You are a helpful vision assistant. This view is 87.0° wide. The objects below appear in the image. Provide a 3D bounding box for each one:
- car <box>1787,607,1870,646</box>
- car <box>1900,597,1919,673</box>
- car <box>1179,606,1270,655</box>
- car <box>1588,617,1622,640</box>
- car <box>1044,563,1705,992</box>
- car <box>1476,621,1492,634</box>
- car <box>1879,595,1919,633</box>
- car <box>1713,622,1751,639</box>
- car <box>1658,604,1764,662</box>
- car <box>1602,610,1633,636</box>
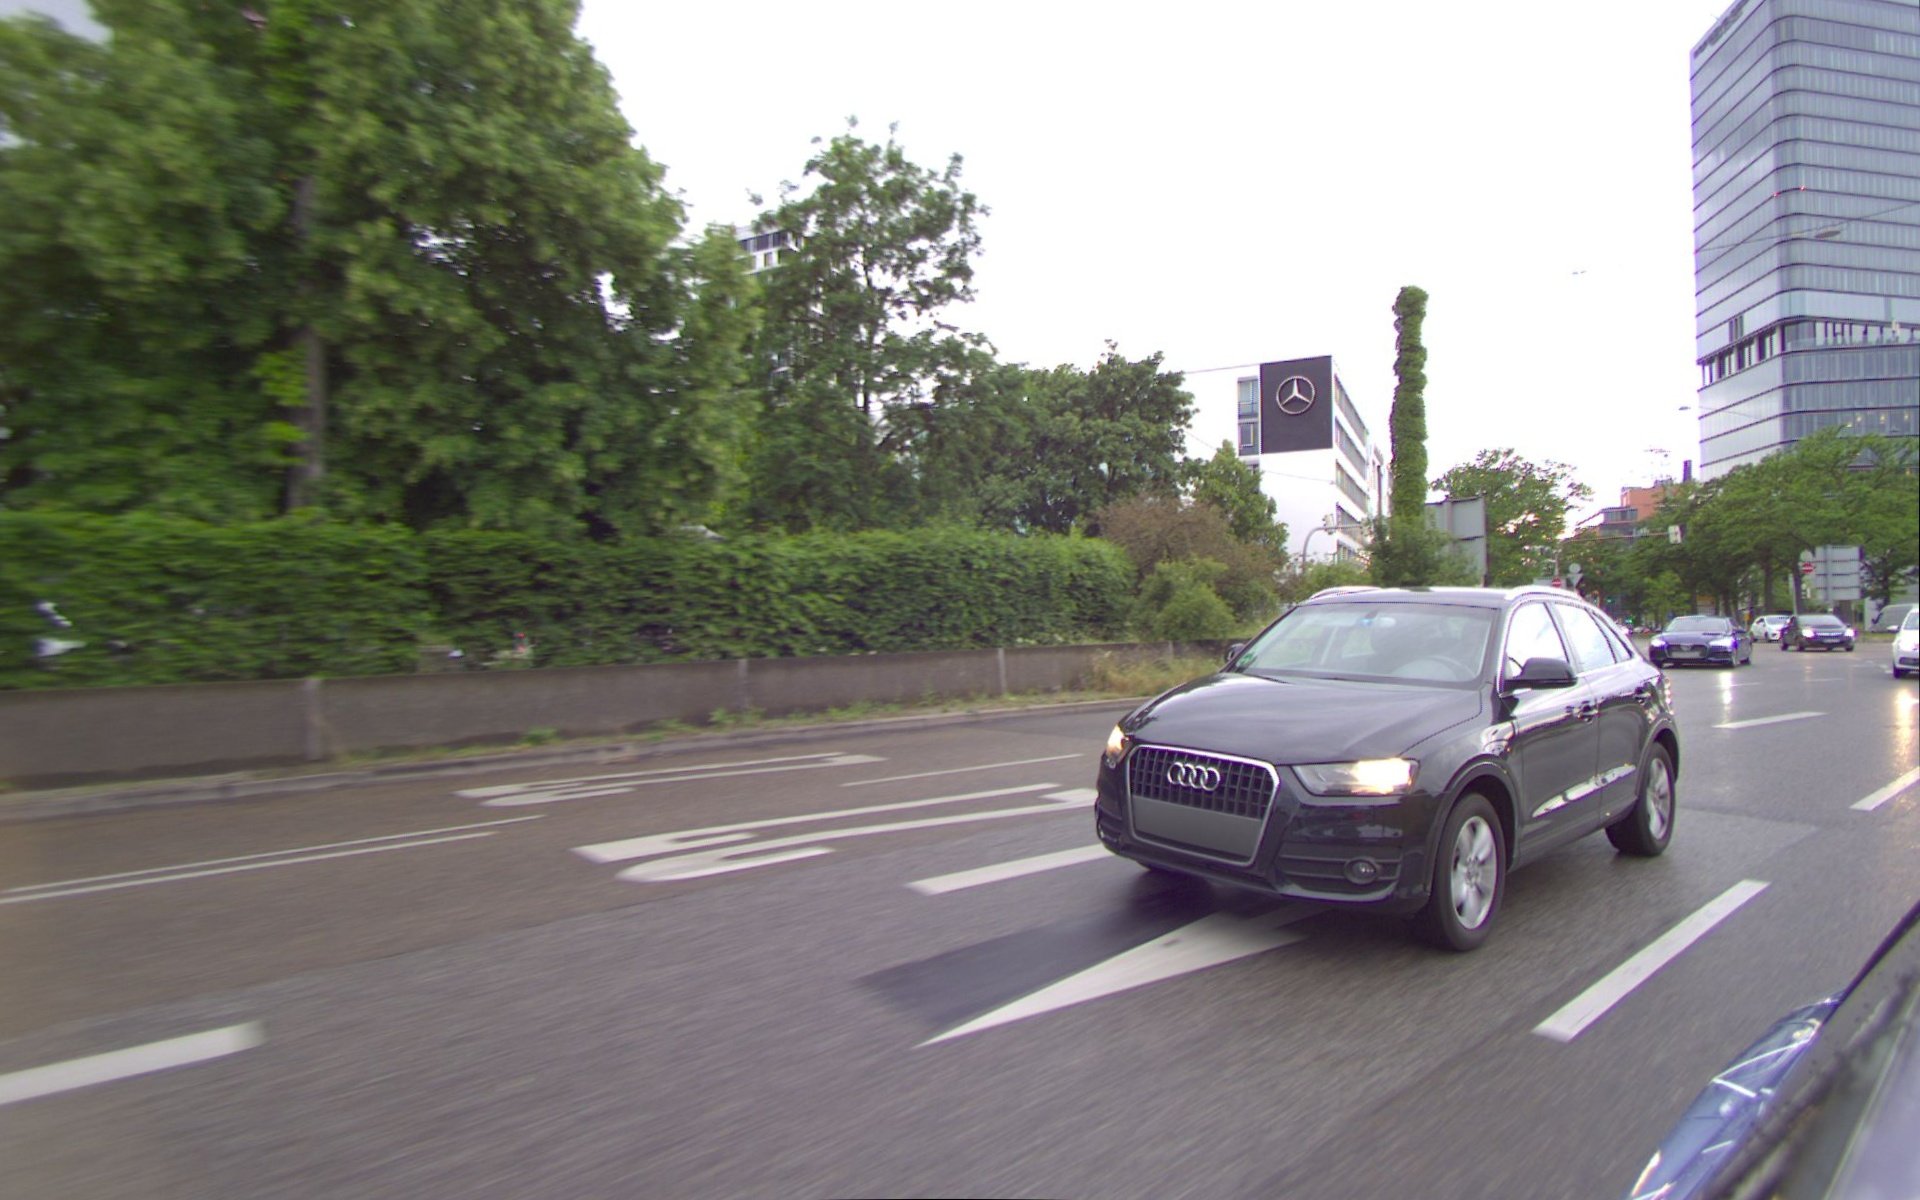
[{"bbox_3d":[33.972,1.031,39.694,1.555,1.433,3.842,-2,-2,27],"label":"car"},{"bbox_3d":[20.729,0.665,20.928,1.725,1.491,4.195,-3,-2,44],"label":"car"},{"bbox_3d":[15.012,1.743,57.746,1.895,2.700,4.798,0,-2,-39],"label":"car"},{"bbox_3d":[45.444,2.025,71.372,1.596,1.533,3.599,-1,-1,26],"label":"car"},{"bbox_3d":[2.517,0.644,5.650,4.053,1.553,1.729,0,-1,-40],"label":"car"},{"bbox_3d":[73.215,3.881,141.537,1.695,1.731,3.851,-1,-1,24],"label":"car"},{"bbox_3d":[67.359,0.962,71.108,1.905,2.618,5.428,-2,-1,17],"label":"car"},{"bbox_3d":[71.037,2.769,93.179,1.662,1.504,3.765,-2,-1,20],"label":"car"},{"bbox_3d":[20.099,0.837,27.017,1.754,1.416,3.936,-2,-1,44],"label":"car"},{"bbox_3d":[52.211,1.806,80.399,1.596,2.039,3.599,-1,-1,26],"label":"car"}]
